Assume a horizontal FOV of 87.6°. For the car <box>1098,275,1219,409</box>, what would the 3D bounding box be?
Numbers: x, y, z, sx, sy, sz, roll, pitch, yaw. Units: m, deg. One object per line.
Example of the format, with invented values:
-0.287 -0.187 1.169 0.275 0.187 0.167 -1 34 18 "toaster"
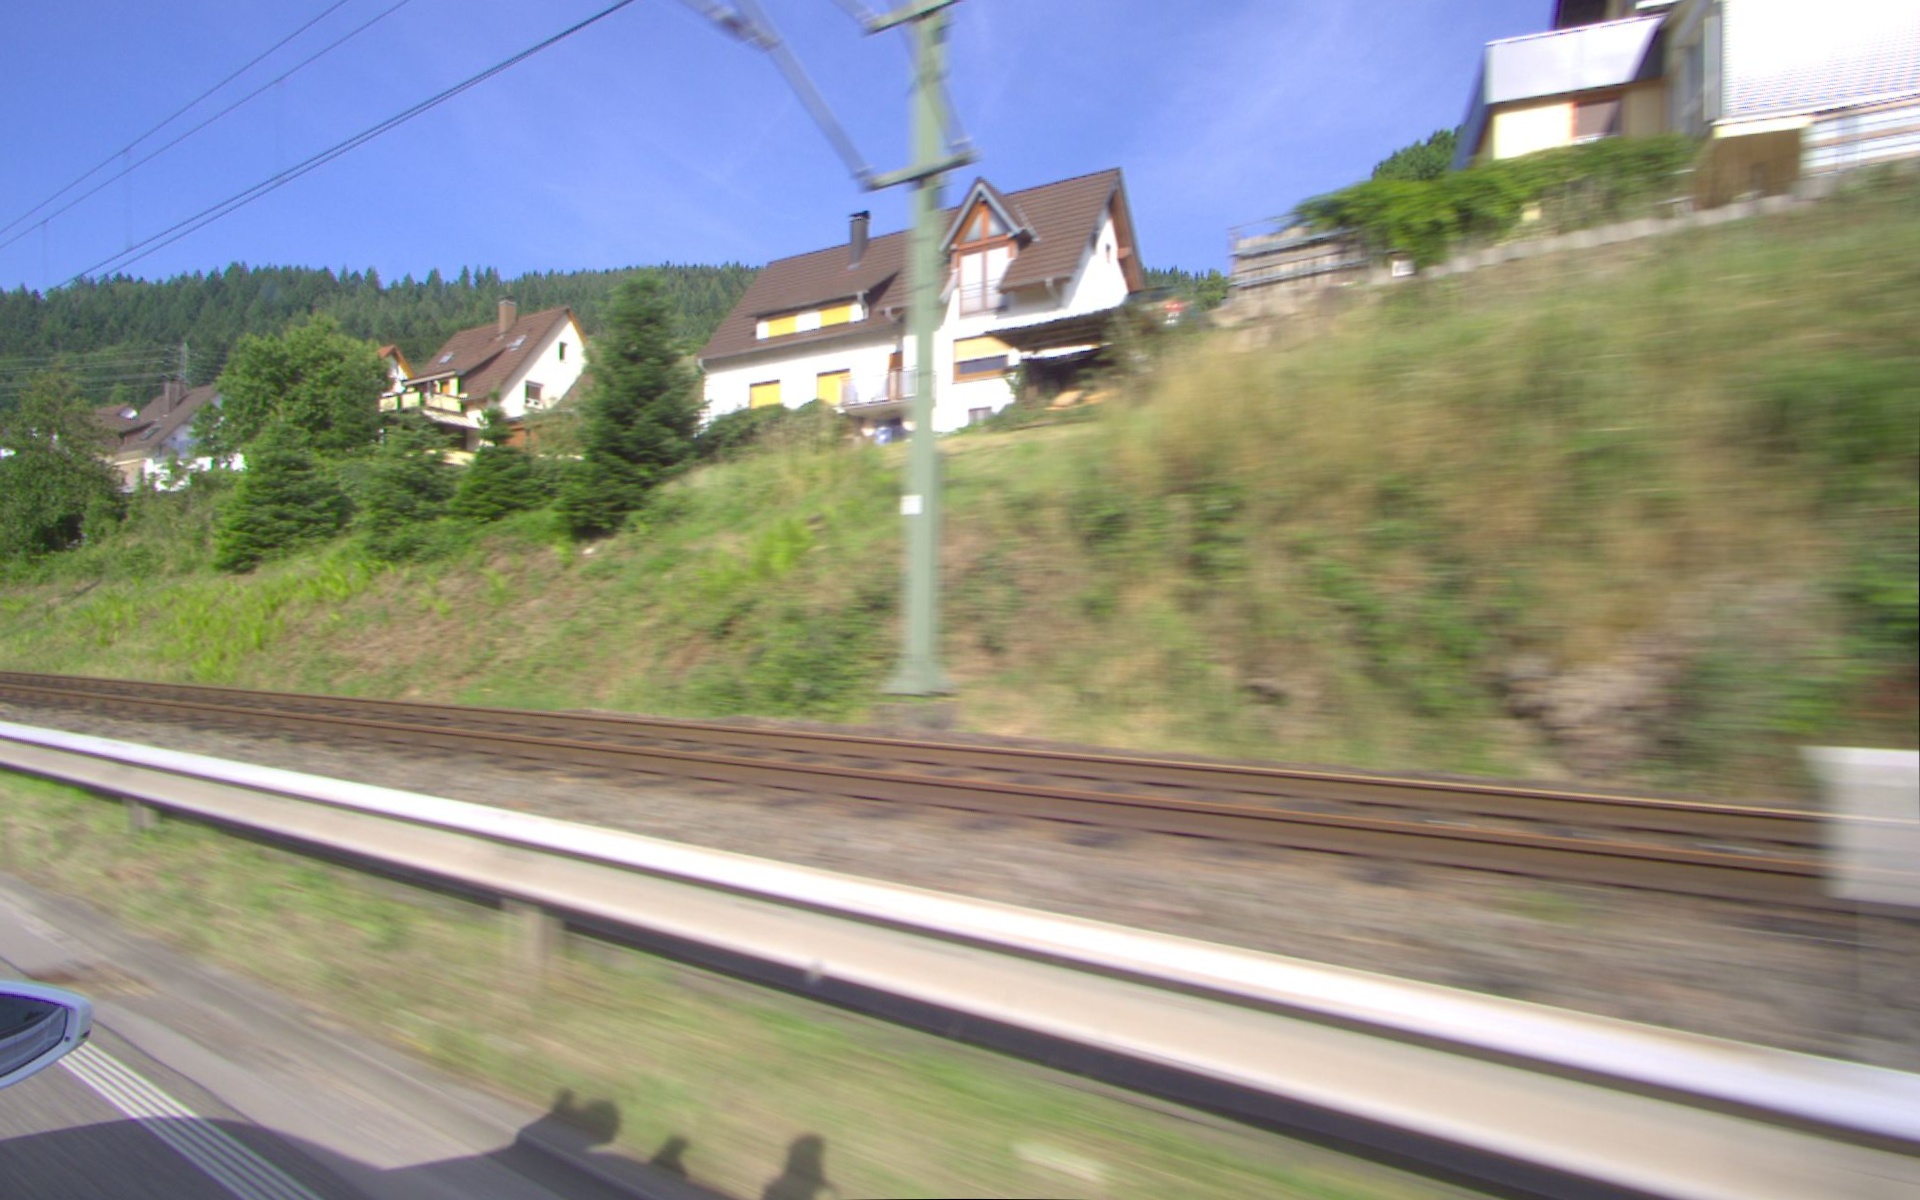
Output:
4.364 -5.440 21.665 1.724 1.558 3.744 -2 -4 25 "car"
